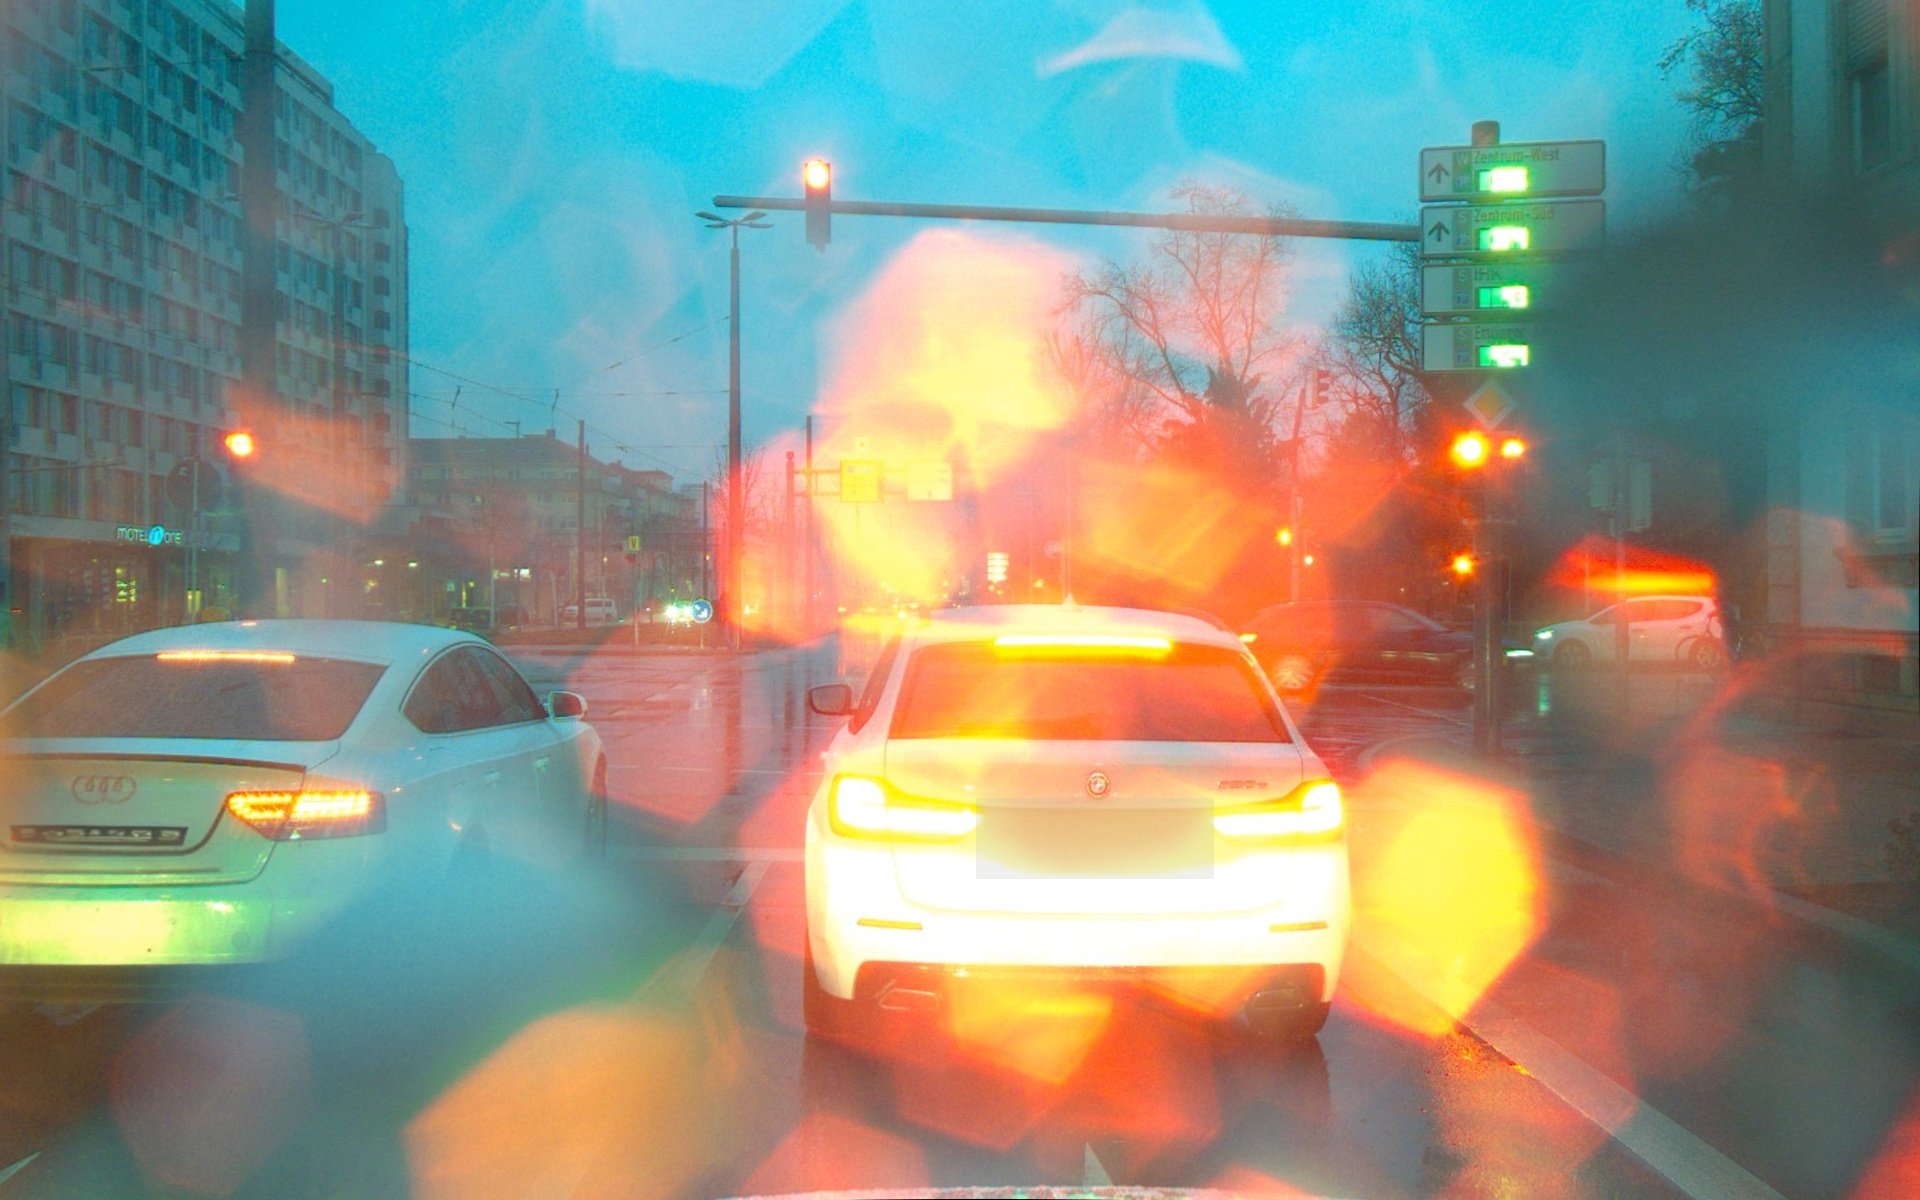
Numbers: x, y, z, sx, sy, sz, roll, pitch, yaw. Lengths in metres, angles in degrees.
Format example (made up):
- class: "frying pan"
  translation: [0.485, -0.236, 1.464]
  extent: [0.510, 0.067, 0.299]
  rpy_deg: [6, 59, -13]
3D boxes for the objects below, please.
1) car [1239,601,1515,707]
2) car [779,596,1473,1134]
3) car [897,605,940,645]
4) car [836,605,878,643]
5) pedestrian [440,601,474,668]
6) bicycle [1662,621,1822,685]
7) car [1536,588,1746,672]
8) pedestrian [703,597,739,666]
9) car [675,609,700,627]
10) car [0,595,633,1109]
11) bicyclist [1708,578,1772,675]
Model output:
- class: "car"
  translation: [6.856, 0.851, 27.149]
  extent: [4.223, 1.557, 1.763]
  rpy_deg: [1, -1, 20]
- class: "car"
  translation: [0.377, 0.737, 6.823]
  extent: [1.954, 1.481, 4.366]
  rpy_deg: [0, 0, -3]
- class: "car"
  translation: [-1.848, 1.103, 73.028]
  extent: [1.806, 1.637, 3.943]
  rpy_deg: [1, -1, -2]
- class: "car"
  translation: [-4.616, 1.068, 74.721]
  extent: [1.806, 1.637, 3.942]
  rpy_deg: [1, -1, -3]
- class: "pedestrian"
  translation: [-13.418, 0.921, 44.140]
  extent: [0.777, 1.741, 0.809]
  rpy_deg: [2, -1, -16]
- class: "bicycle"
  translation: [14.645, 0.981, 31.053]
  extent: [2.611, 1.108, 0.815]
  rpy_deg: [1, -1, 18]
- class: "car"
  translation: [13.920, 0.594, 33.898]
  extent: [3.876, 1.581, 1.748]
  rpy_deg: [1, -1, 24]
- class: "pedestrian"
  translation: [-6.714, 0.882, 46.446]
  extent: [0.887, 1.888, 0.809]
  rpy_deg: [2, -1, -13]
- class: "car"
  translation: [-24.004, 1.566, 145.717]
  extent: [1.641, 1.534, 3.695]
  rpy_deg: [1, -1, -1]
- class: "car"
  translation: [-2.705, 0.730, 6.994]
  extent: [1.954, 1.481, 4.366]
  rpy_deg: [0, 0, -3]
- class: "bicyclist"
  translation: [14.647, 0.498, 31.064]
  extent: [0.951, 1.789, 0.814]
  rpy_deg: [1, -1, 17]
